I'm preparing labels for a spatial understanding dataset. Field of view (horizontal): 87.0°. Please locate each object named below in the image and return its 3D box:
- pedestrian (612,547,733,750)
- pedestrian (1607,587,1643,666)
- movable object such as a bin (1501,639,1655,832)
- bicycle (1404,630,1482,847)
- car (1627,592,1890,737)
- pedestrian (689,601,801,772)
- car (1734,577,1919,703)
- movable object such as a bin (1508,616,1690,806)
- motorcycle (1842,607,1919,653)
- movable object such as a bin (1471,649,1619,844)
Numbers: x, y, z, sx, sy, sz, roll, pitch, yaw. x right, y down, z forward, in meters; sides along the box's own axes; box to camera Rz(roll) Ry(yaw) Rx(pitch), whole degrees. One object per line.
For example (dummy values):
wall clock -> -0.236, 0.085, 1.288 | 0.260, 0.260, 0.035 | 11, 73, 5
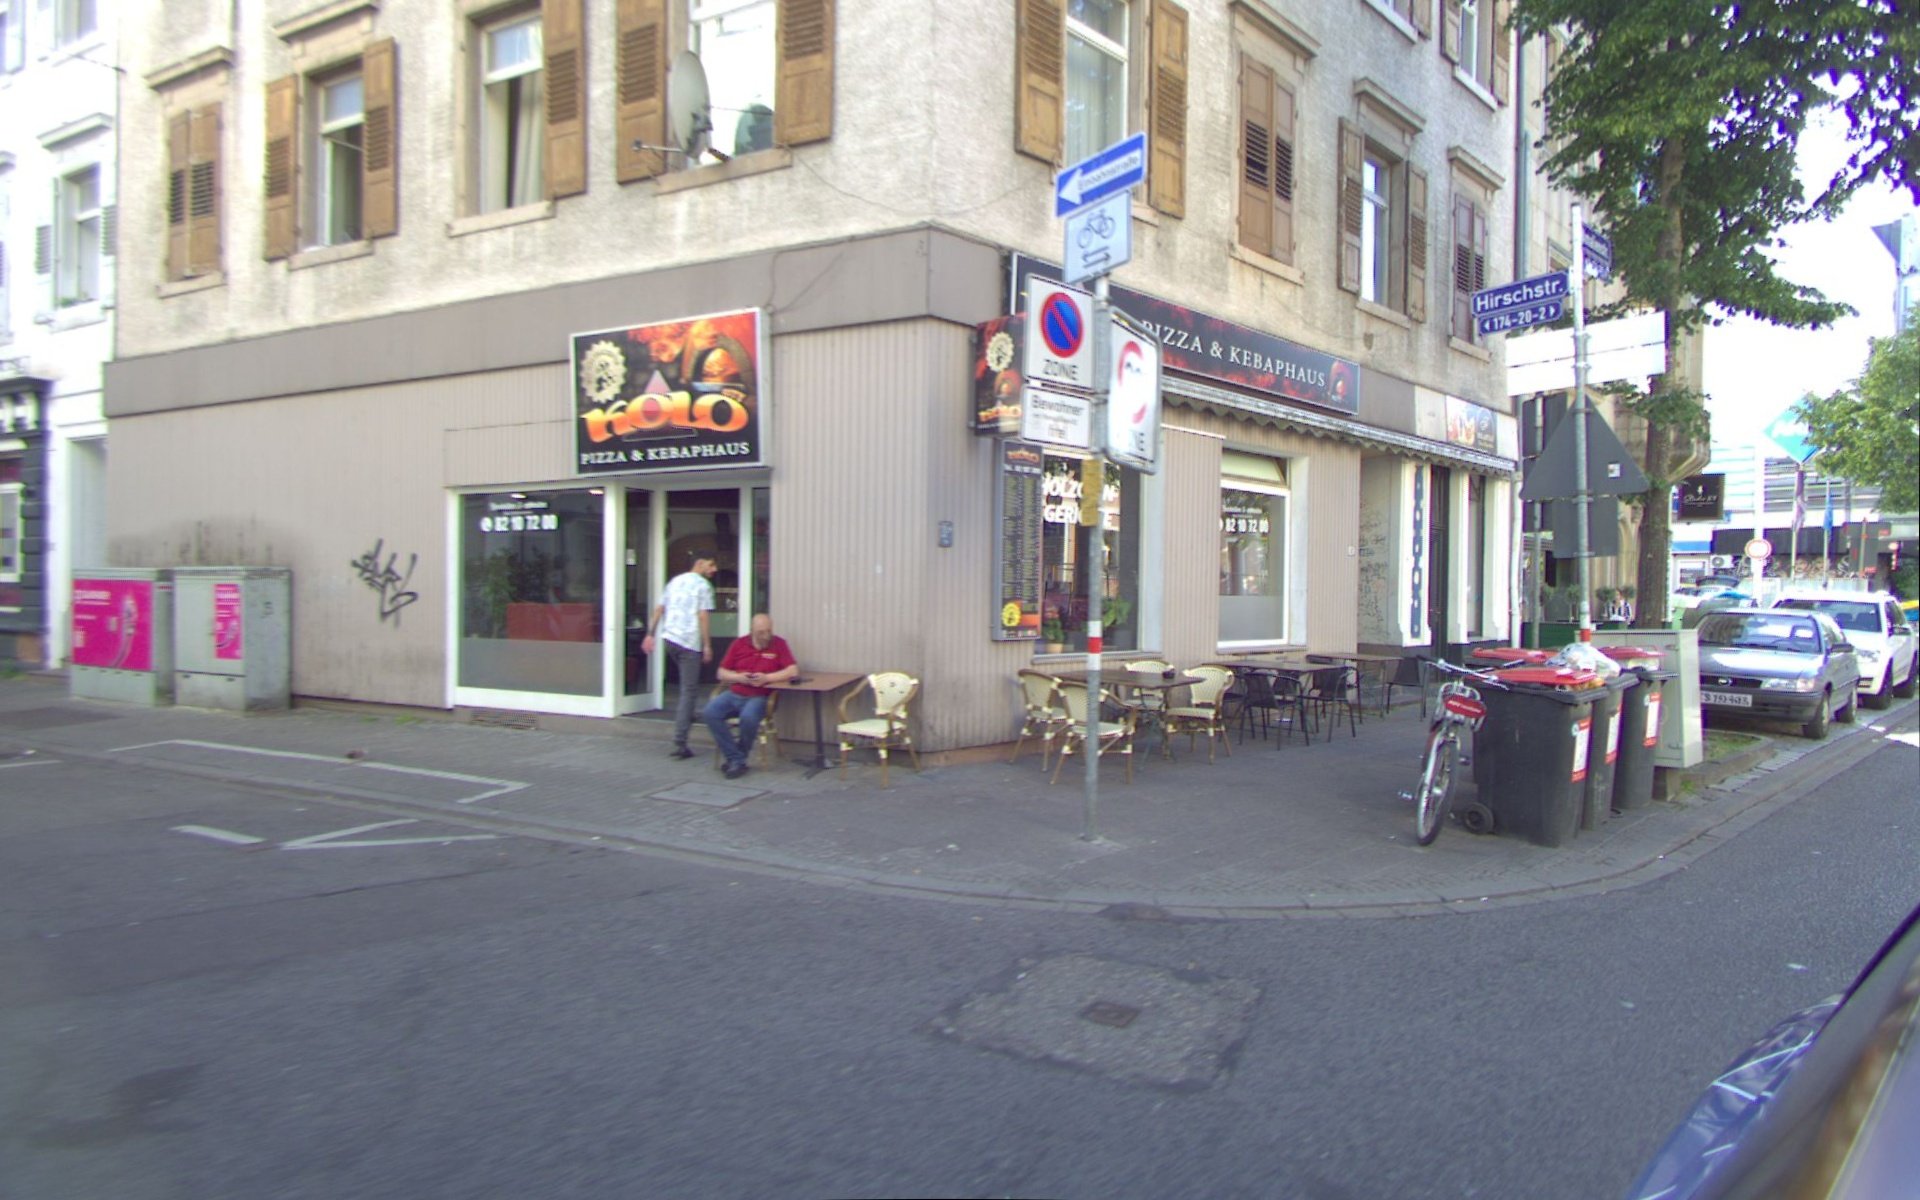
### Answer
pedestrian -> -2.521, 0.391, 8.944 | 0.787, 1.717, 0.706 | 0, 2, 10
pedestrian -> 12.515, 0.485, 19.052 | 0.512, 1.461, 0.460 | 0, 0, -42
movable object such as a bin -> 4.174, 0.872, 6.846 | 0.591, 1.170, 0.721 | 1, 0, -38
bicycle -> 3.169, 0.828, 6.696 | 0.374, 1.159, 1.660 | 2, 2, 24
car -> 9.971, 0.671, 12.526 | 4.087, 1.436, 1.834 | 0, 2, -42
pedestrian -> -1.709, 0.666, 8.116 | 0.701, 1.274, 0.589 | 0, 2, 11
car -> 13.786, 0.543, 15.821 | 4.086, 1.671, 1.834 | 0, 2, -41
movable object such as a bin -> 4.693, 0.765, 7.452 | 0.686, 1.229, 0.944 | 0, 2, -39
motorcycle -> 24.269, 0.769, 25.763 | 2.638, 1.091, 0.951 | 1, 0, 35
movable object such as a bin -> 3.717, 0.893, 6.444 | 0.591, 1.081, 0.635 | -2, 3, -39
